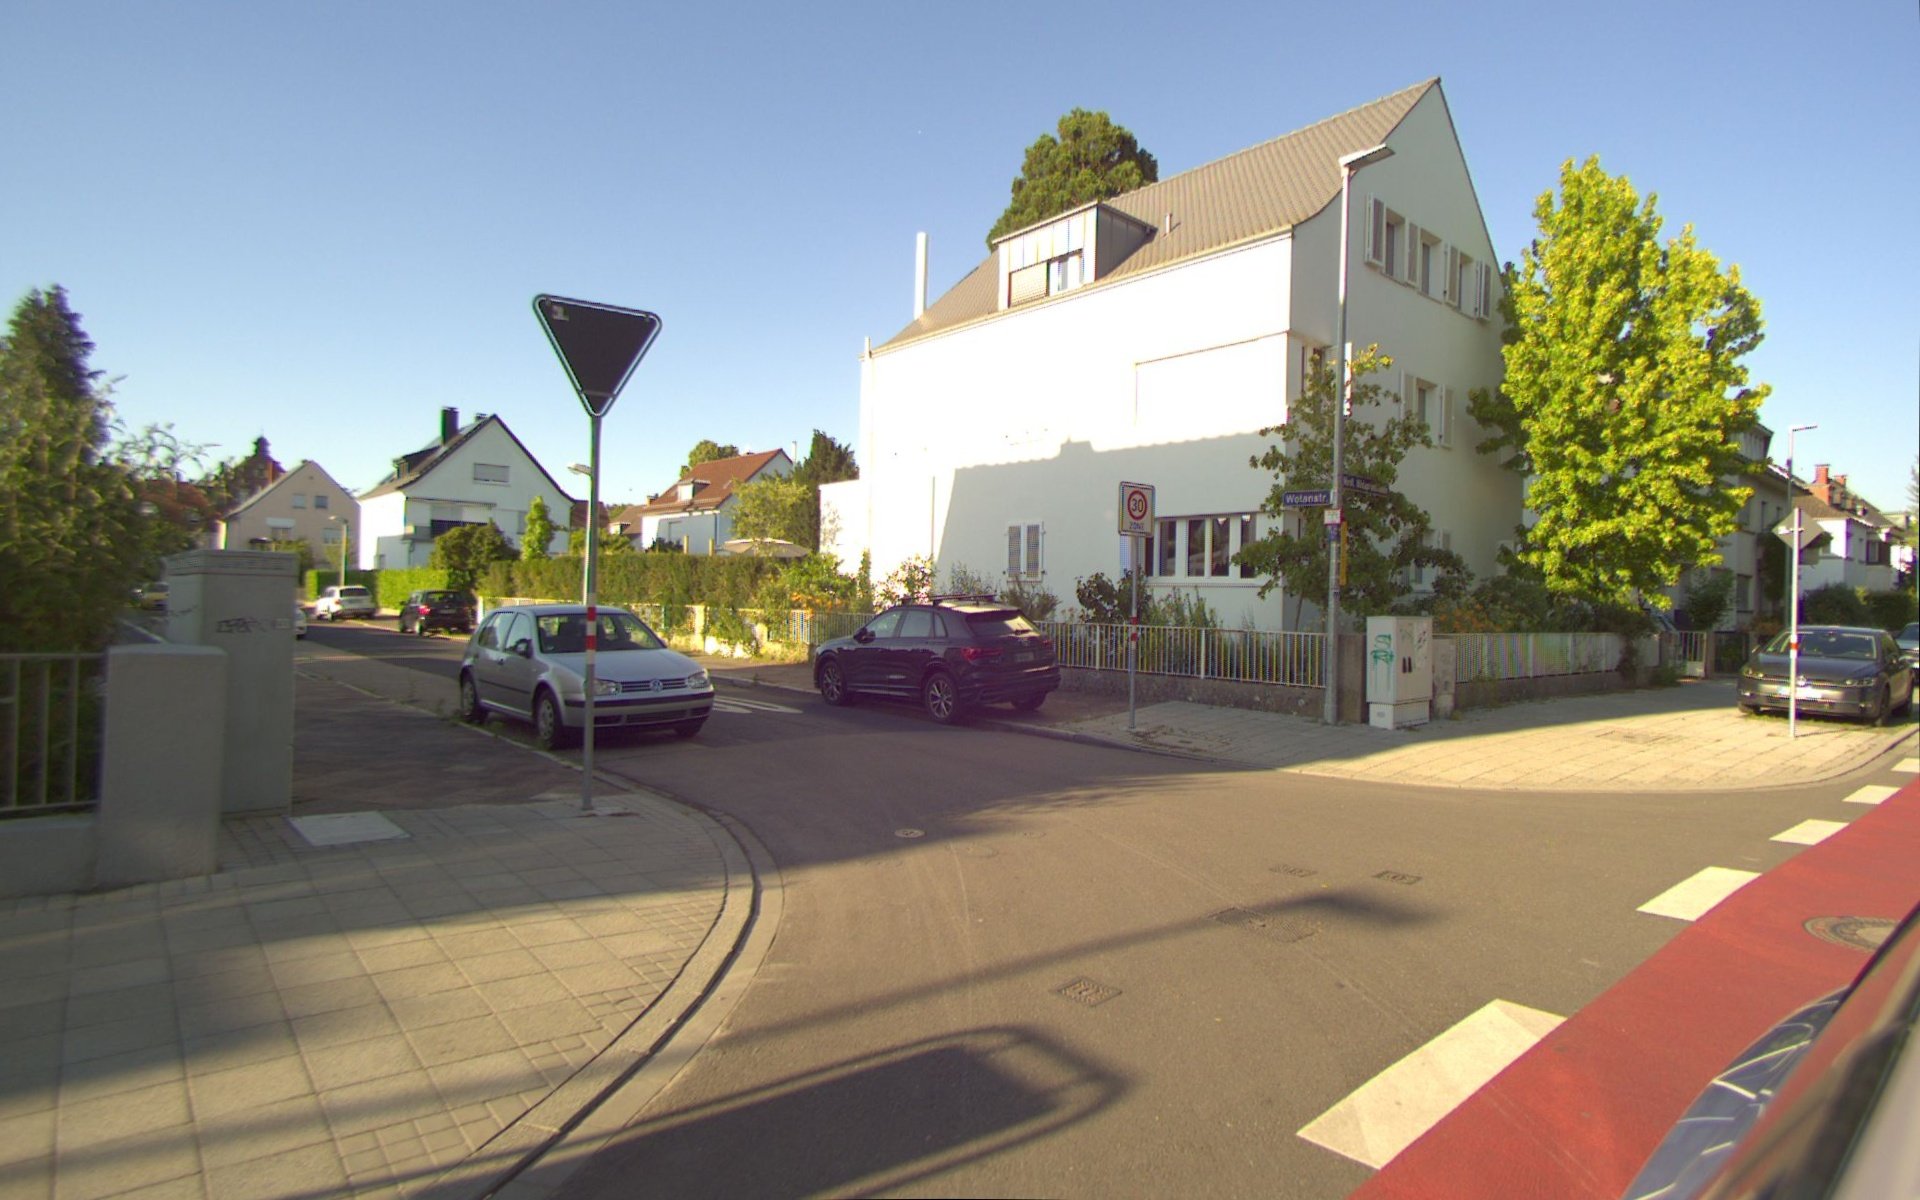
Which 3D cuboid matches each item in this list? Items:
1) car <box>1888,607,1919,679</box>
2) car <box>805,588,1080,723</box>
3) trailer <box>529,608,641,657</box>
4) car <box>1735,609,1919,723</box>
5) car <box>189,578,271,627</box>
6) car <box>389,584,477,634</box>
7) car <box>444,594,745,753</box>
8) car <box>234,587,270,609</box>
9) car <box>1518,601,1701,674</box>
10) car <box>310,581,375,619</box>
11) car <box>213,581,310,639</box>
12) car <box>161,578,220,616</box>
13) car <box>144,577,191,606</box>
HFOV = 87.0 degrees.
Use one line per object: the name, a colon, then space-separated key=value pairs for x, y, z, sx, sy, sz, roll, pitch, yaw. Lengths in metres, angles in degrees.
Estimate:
car: x=25.573 y=1.157 z=25.985 sx=4.492 sy=1.729 sz=1.910 roll=2 pitch=1 yaw=-39
car: x=-0.374 y=0.715 z=15.007 sx=1.862 sy=1.710 sz=4.094 roll=1 pitch=-1 yaw=-42
trailer: x=-9.090 y=0.751 z=24.467 sx=1.647 sy=1.032 sz=2.612 roll=1 pitch=1 yaw=-43
car: x=14.176 y=1.014 z=16.301 sx=4.049 sy=1.501 sz=1.798 roll=3 pitch=1 yaw=-40
car: x=-24.621 y=0.082 z=34.087 sx=1.771 sy=1.554 sz=4.122 roll=1 pitch=-1 yaw=-42
car: x=-18.317 y=0.262 z=35.069 sx=1.770 sy=1.554 sz=4.388 roll=1 pitch=1 yaw=-41
car: x=-4.334 y=0.704 z=11.630 sx=1.862 sy=1.489 sz=4.076 roll=1 pitch=-1 yaw=-42
car: x=-53.769 y=-0.194 z=76.848 sx=1.770 sy=1.554 sz=4.387 roll=1 pitch=1 yaw=-41
car: x=17.832 y=1.010 z=27.901 sx=3.983 sy=1.869 sz=1.786 roll=-1 pitch=-3 yaw=44
car: x=-27.457 y=-0.027 z=44.968 sx=1.770 sy=1.554 sz=4.388 roll=1 pitch=1 yaw=-41
car: x=-20.215 y=0.294 z=29.218 sx=1.771 sy=1.554 sz=4.122 roll=1 pitch=-1 yaw=-42
car: x=-33.364 y=-0.112 z=43.835 sx=1.770 sy=1.554 sz=4.387 roll=1 pitch=-1 yaw=-41
car: x=-44.443 y=-0.445 z=56.751 sx=1.771 sy=1.554 sz=4.122 roll=1 pitch=-1 yaw=-42
